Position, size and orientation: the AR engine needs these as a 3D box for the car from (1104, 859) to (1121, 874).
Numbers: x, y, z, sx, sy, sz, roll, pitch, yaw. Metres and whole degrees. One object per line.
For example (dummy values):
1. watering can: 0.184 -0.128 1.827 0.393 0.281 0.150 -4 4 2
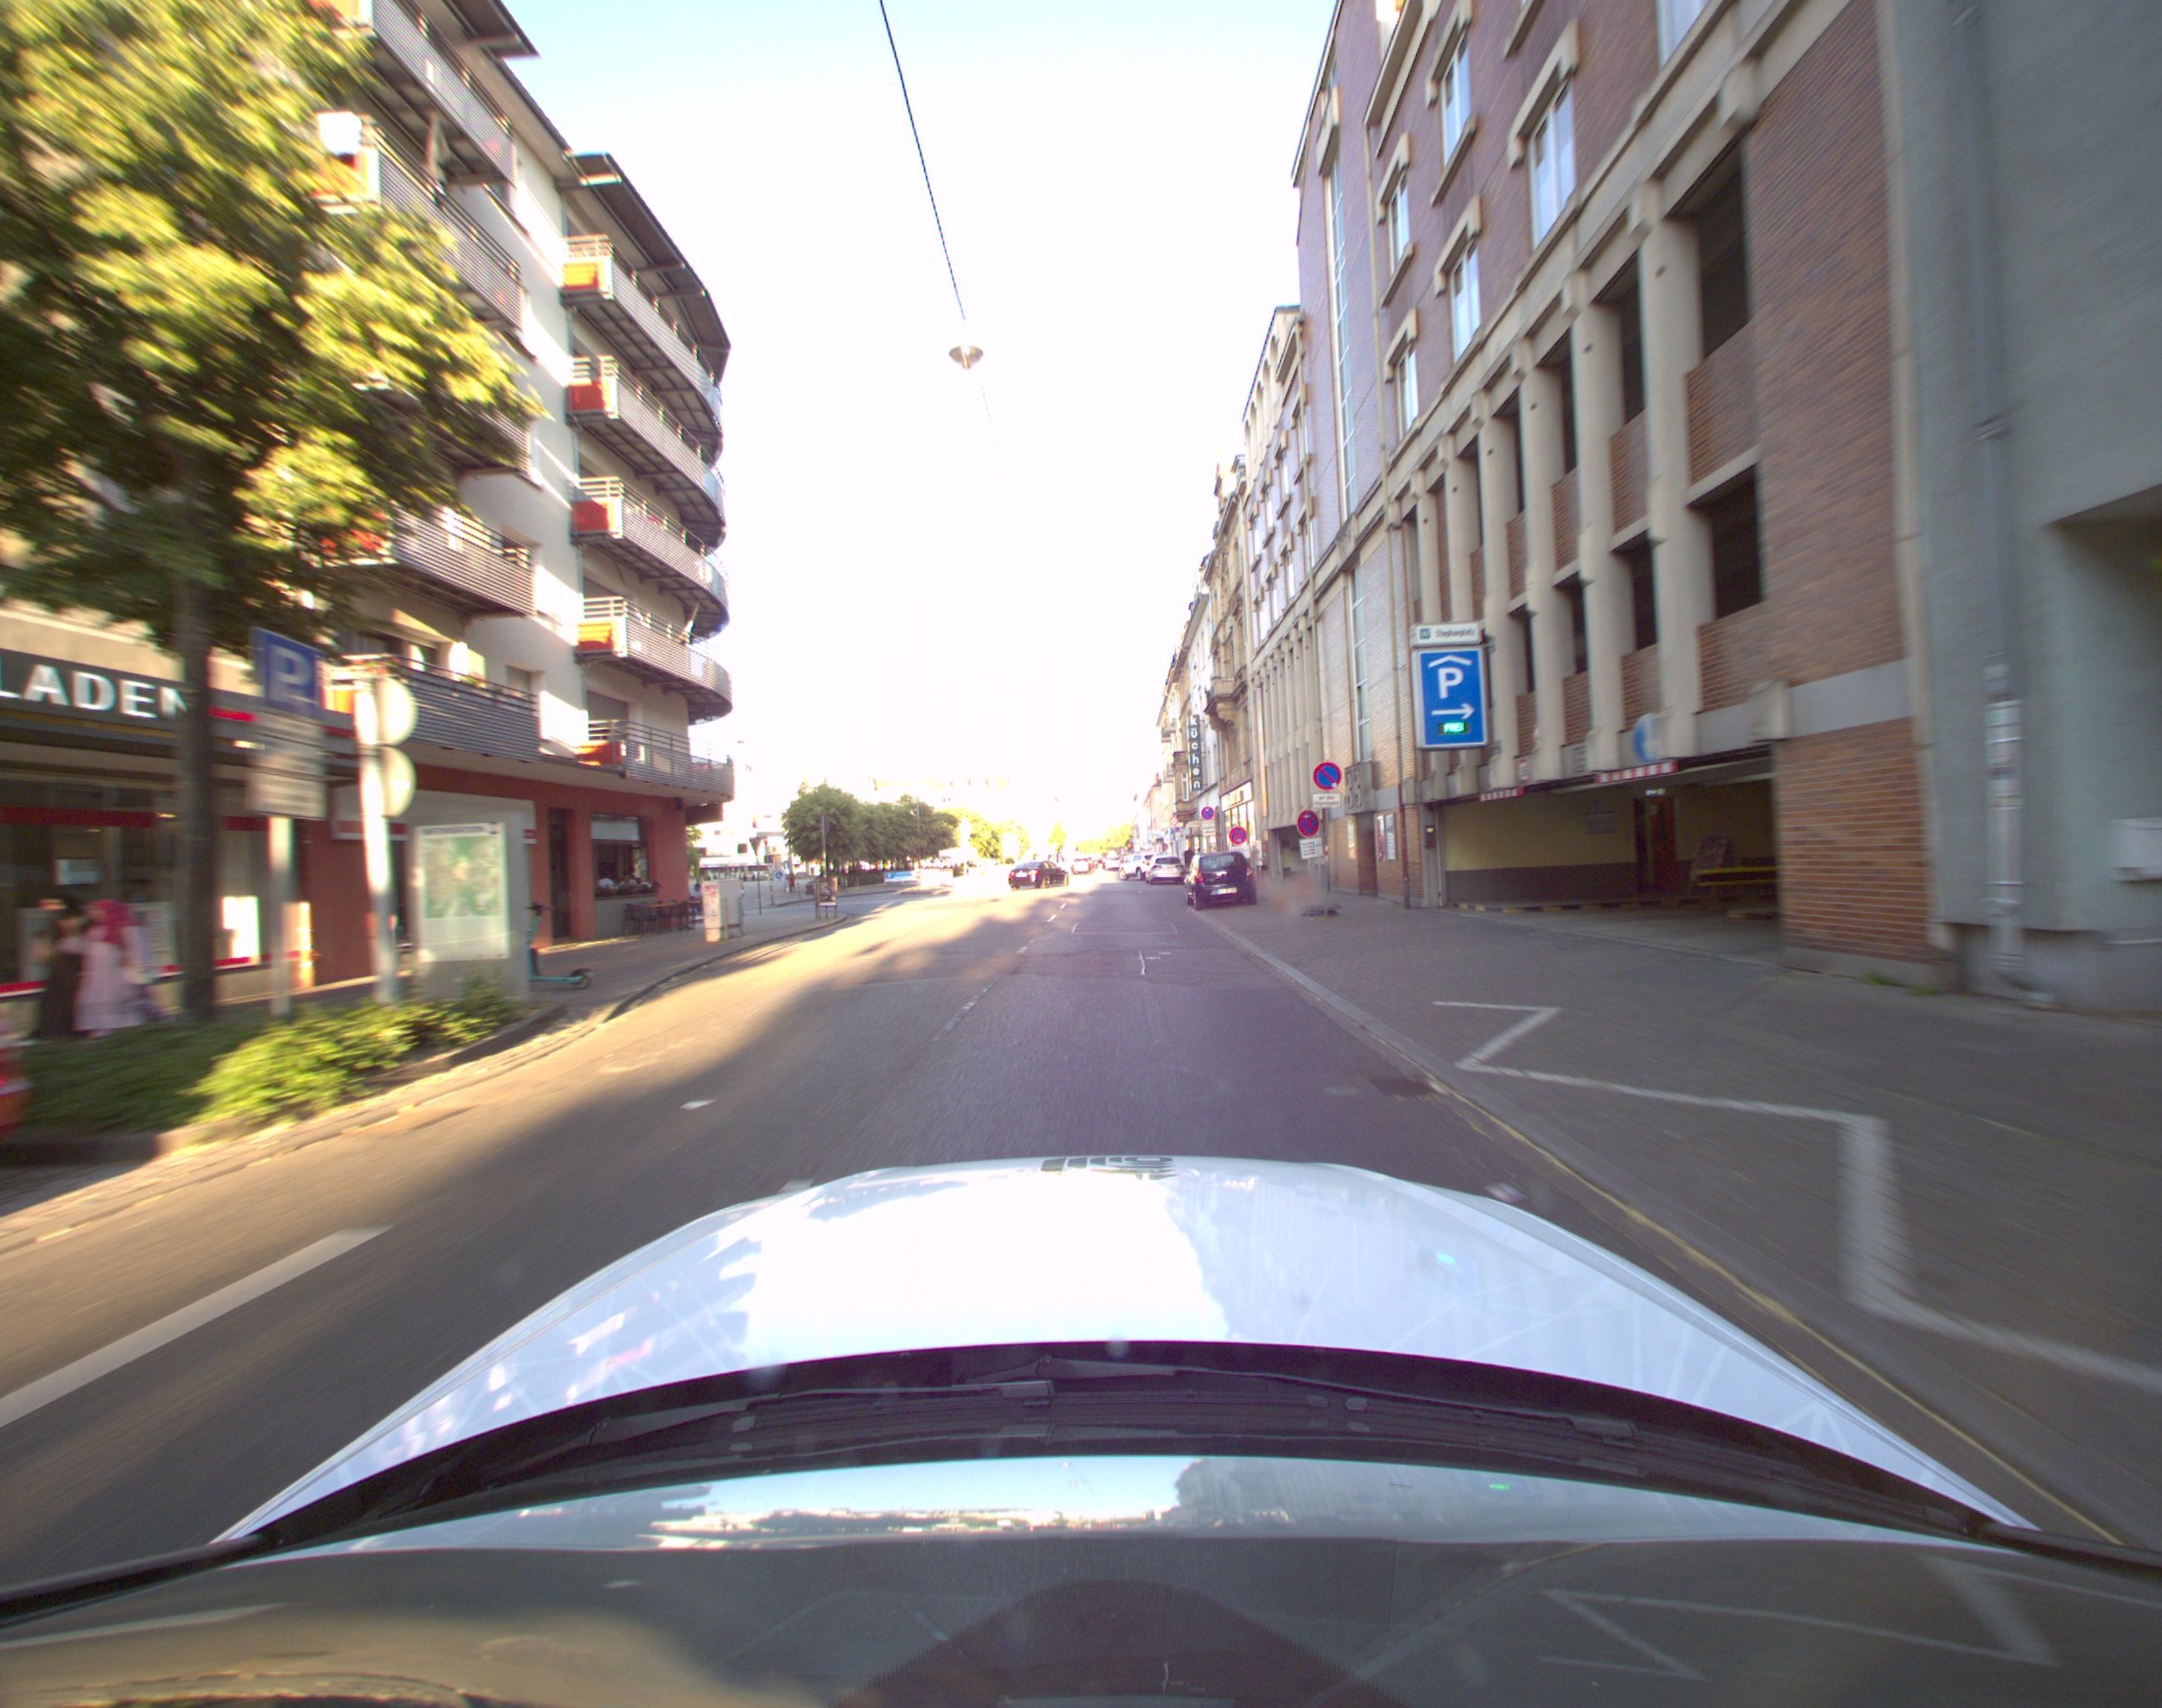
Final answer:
1. car: 3.470 1.331 90.265 1.890 1.581 4.001 -1 0 1

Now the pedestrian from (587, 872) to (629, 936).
1. pedestrian: -12.387 1.296 21.336 0.594 1.595 0.751 -3 -2 3

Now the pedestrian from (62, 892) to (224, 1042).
1. pedestrian: -10.249 1.199 8.940 0.731 1.528 0.876 -1 -2 2

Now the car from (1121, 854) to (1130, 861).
1. car: 10.689 0.801 194.997 1.890 1.581 3.853 -3 0 1

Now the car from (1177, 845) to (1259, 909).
1. car: 3.843 0.612 23.444 1.752 1.536 4.003 -6 0 3

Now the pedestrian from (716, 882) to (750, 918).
1. pedestrian: -12.484 1.638 29.262 0.897 1.242 0.766 -3 -2 -7

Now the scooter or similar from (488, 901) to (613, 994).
1. scooter or similar: -7.533 1.313 11.597 1.394 1.226 0.525 -2 0 -2

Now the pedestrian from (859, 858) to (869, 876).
1. pedestrian: -20.144 1.219 75.677 0.672 1.595 0.571 -2 -1 21

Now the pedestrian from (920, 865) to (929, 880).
1. pedestrian: -16.571 1.978 86.338 0.672 1.595 0.680 -2 -1 21

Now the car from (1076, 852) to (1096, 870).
1. car: 0.536 0.716 83.874 1.890 1.649 4.105 -2 0 1

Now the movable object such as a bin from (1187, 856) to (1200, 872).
1. movable object such as a bin: 7.953 0.723 57.836 0.771 1.070 0.618 -5 -1 1

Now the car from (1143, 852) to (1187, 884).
1. car: 4.262 0.735 41.981 1.753 1.536 4.820 -1 -1 0

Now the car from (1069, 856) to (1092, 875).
1. car: -0.011 1.082 75.624 1.890 1.649 4.105 -2 0 1

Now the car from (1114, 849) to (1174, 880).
1. car: 3.848 0.675 50.745 2.000 1.761 4.435 -3 0 -20

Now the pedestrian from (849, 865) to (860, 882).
1. pedestrian: -21.144 1.798 76.002 0.783 1.595 0.571 -2 -1 21

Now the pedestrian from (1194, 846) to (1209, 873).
1. pedestrian: 7.802 0.365 52.800 0.770 1.711 1.042 -4 0 1

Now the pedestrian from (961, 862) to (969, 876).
1. pedestrian: -13.643 1.735 95.714 0.783 1.595 0.571 -2 -1 21

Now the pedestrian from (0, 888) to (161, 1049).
1. pedestrian: -10.776 1.188 8.742 0.769 1.608 0.876 -1 -2 2

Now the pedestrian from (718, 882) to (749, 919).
1. pedestrian: -12.768 1.708 29.954 0.826 1.273 0.747 -3 -2 -7

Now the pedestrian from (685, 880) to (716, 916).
1. pedestrian: -13.788 1.586 29.556 0.720 1.247 0.828 -3 -2 -4

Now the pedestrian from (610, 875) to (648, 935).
1. pedestrian: -12.423 1.396 22.397 0.594 1.595 0.702 -3 -2 3

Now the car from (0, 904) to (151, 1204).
1. car: -7.735 1.121 4.057 4.057 1.536 1.885 -1 0 1

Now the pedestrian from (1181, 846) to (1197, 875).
1. pedestrian: 6.989 0.407 52.700 0.770 1.827 1.011 -4 0 1

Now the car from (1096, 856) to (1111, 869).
1. car: 2.909 1.057 103.976 1.890 1.581 3.853 0 0 1

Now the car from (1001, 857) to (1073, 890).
1. car: -2.193 0.965 41.528 1.879 1.581 4.024 -1 0 27

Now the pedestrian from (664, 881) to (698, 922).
1. pedestrian: -13.823 1.624 28.191 0.745 1.348 0.828 -3 -2 -4

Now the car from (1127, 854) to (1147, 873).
1. car: 5.238 0.895 76.409 1.723 1.651 4.287 -1 -1 2
